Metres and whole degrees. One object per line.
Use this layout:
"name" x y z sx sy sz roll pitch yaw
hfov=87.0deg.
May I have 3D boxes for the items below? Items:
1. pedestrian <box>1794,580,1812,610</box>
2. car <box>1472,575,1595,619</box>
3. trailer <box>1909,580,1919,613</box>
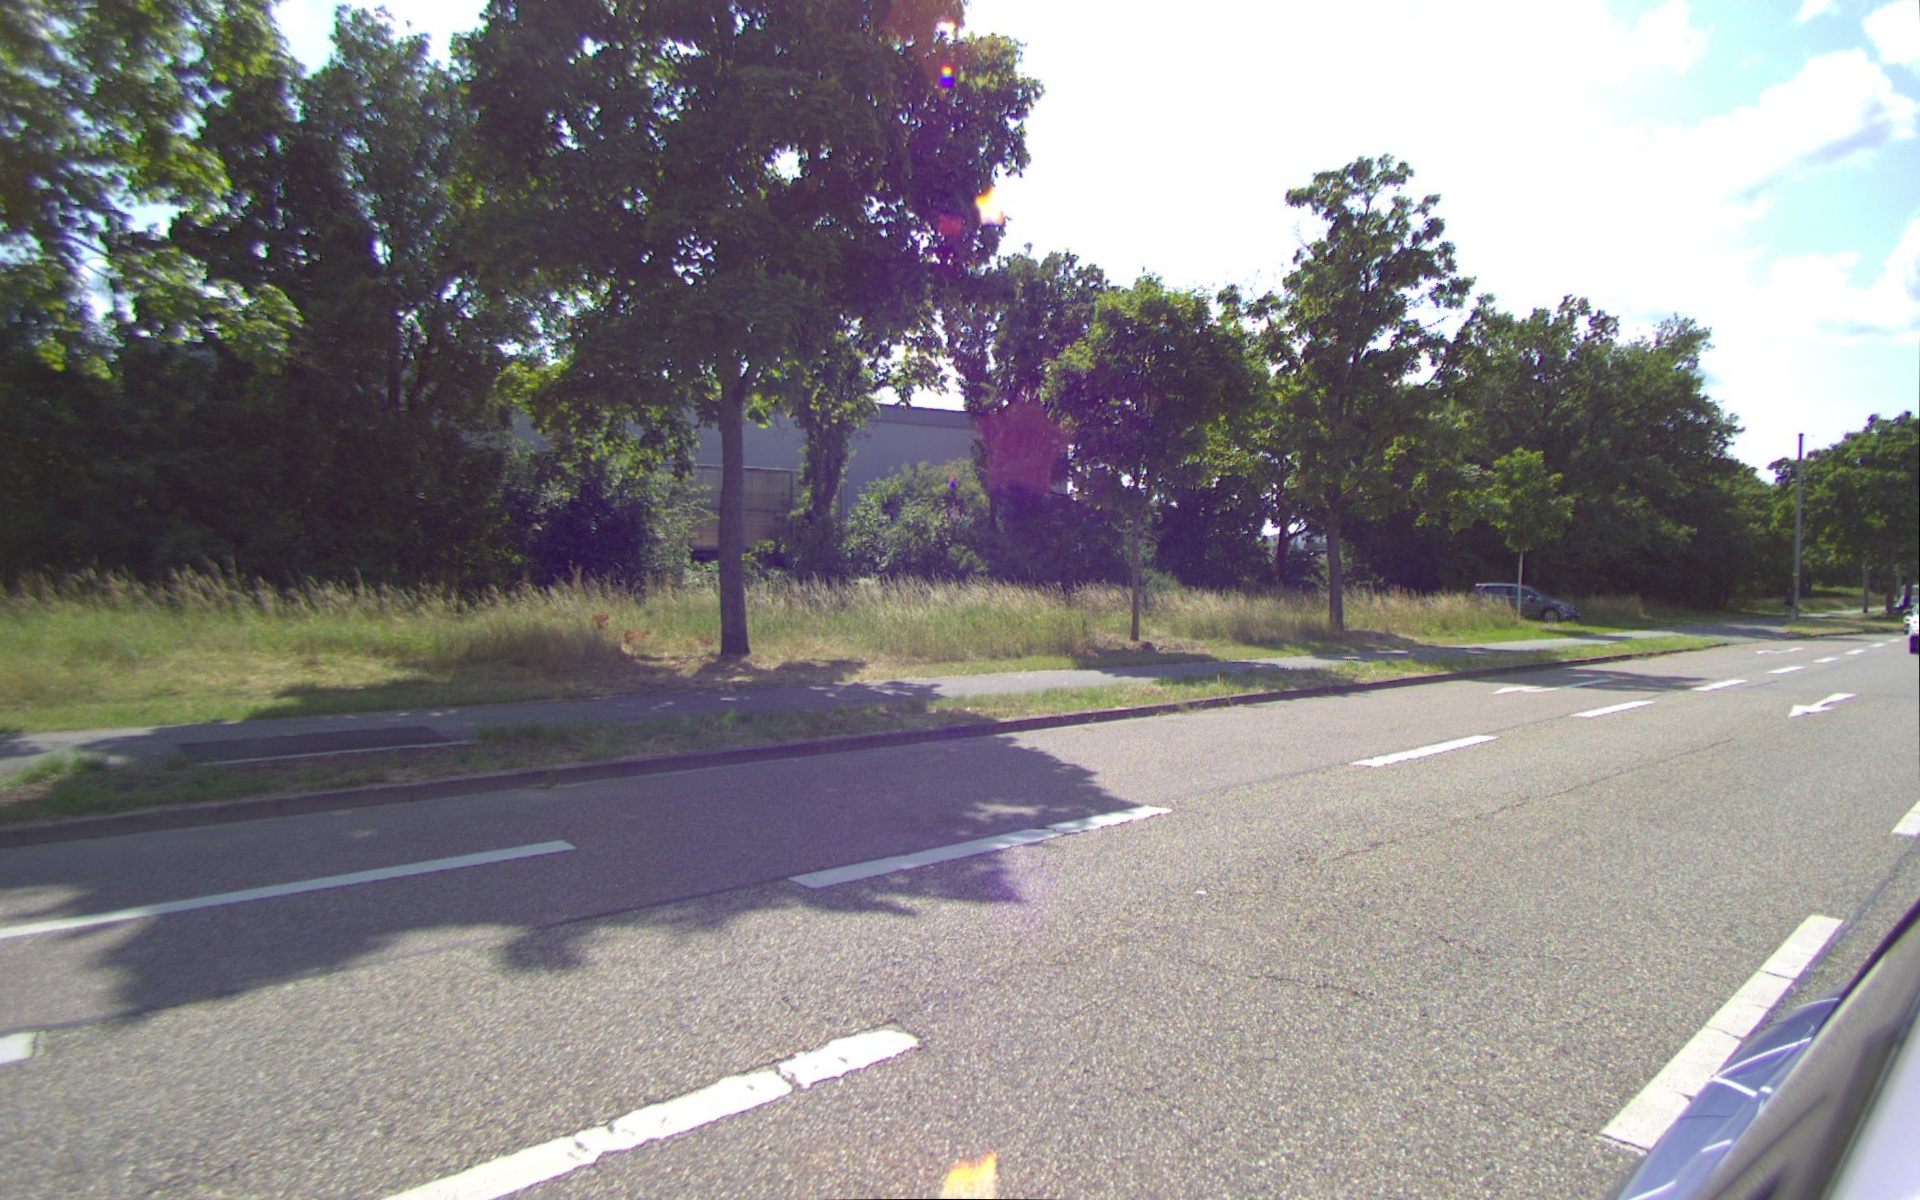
"pedestrian" 51.677 -0.306 62.048 0.727 1.816 0.718 -1 0 -43
"car" 24.225 -0.161 42.816 4.166 1.511 1.755 6 3 45
"trailer" 71.125 -0.257 74.200 4.530 2.380 1.955 -1 3 -44
